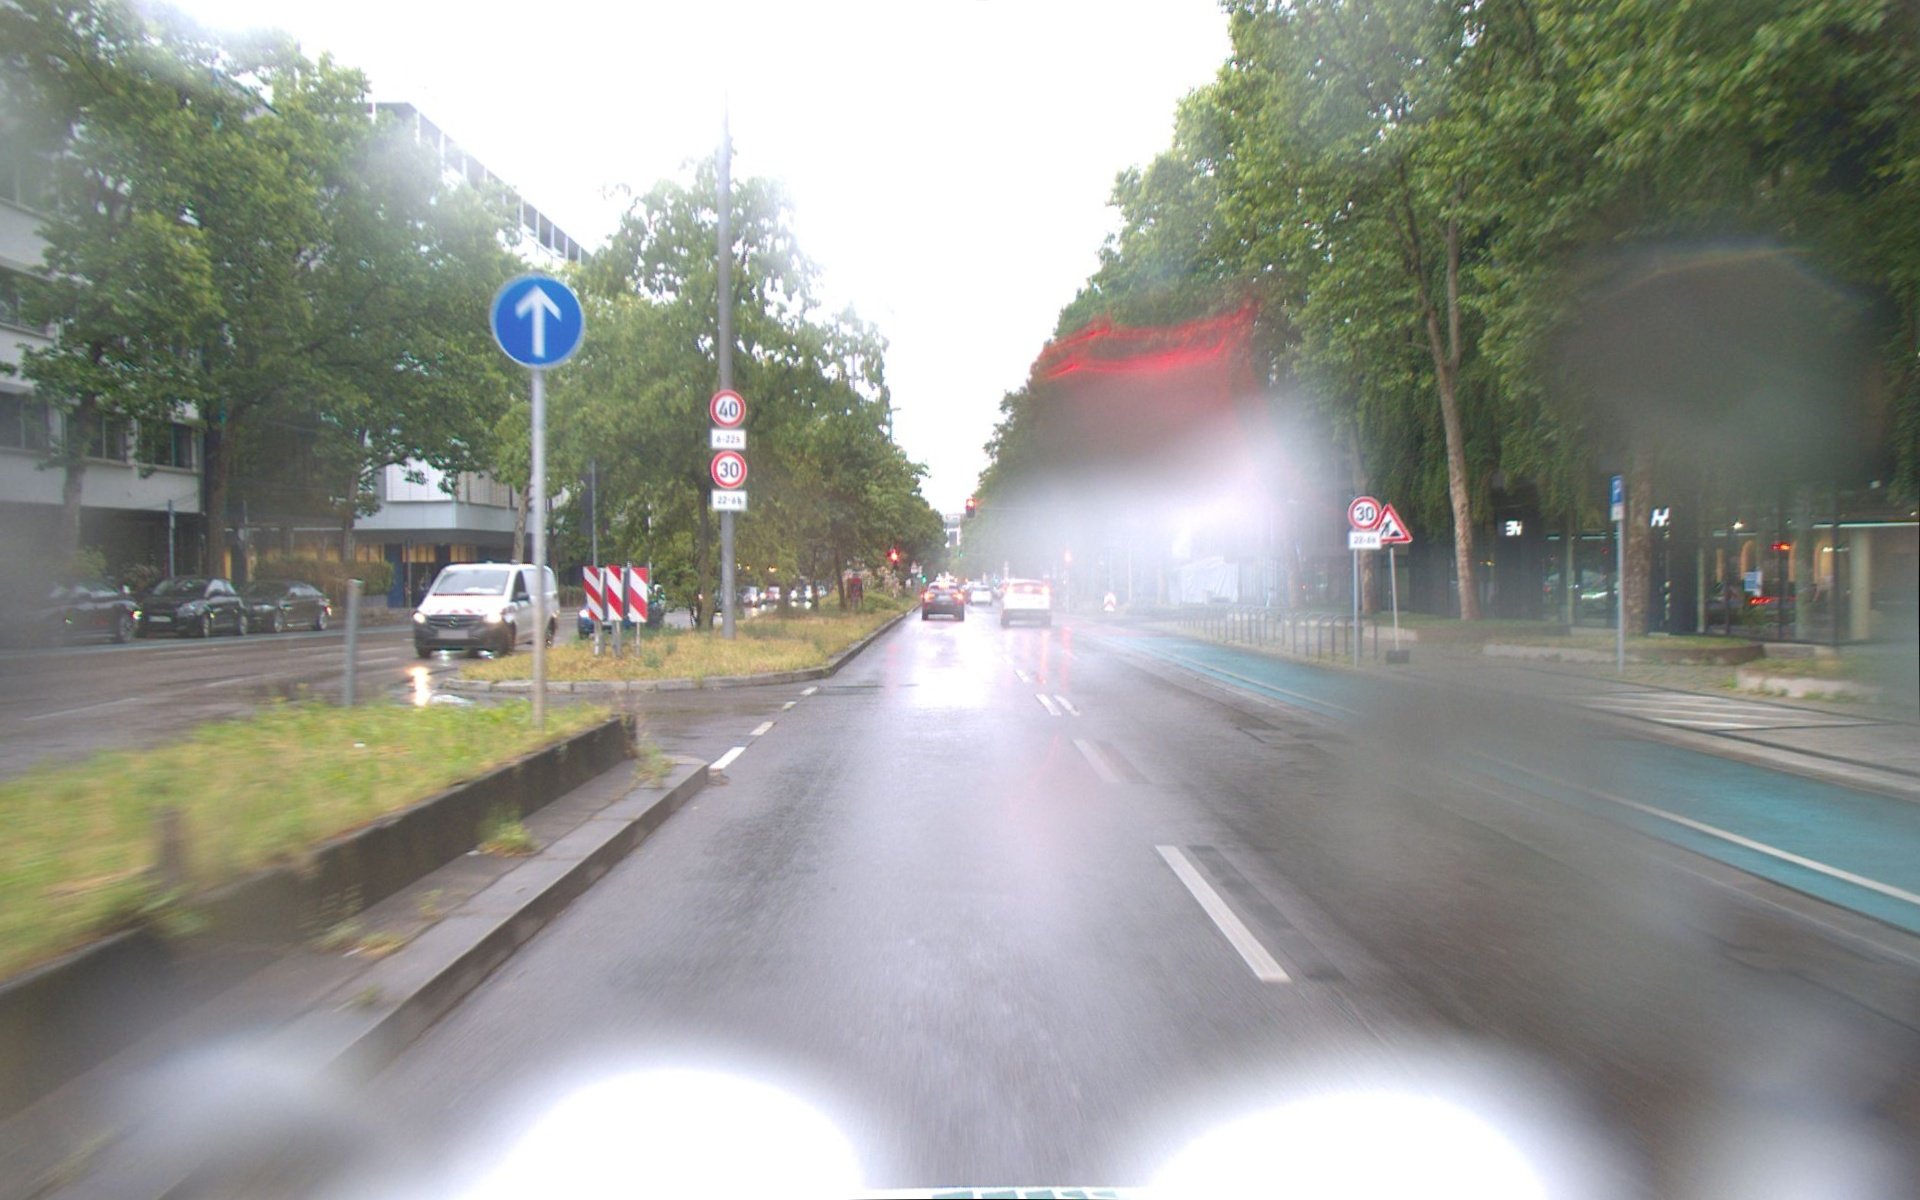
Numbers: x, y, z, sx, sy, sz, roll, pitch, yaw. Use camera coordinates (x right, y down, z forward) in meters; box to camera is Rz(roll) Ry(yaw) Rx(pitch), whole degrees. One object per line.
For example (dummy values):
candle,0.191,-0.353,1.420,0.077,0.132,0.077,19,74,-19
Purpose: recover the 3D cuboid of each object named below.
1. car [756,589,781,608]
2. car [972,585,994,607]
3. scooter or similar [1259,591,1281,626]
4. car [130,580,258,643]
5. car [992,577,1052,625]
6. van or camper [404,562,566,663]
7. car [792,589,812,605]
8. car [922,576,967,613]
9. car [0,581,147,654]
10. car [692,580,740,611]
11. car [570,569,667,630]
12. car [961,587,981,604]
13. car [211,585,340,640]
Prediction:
car,-15.170,-0.148,131.392,1.581,1.418,4.184,0,1,-1
car,1.827,-0.332,130.978,1.587,1.695,3.999,-1,1,-1
scooter or similar,11.252,0.304,59.985,0.374,1.249,1.075,0,0,35
car,-19.218,0.264,41.661,1.658,1.494,3.459,0,1,-1
car,2.259,0.010,61.090,1.953,1.684,4.888,0,1,-1
van or camper,-9.865,0.198,34.790,1.953,1.947,5.250,0,1,-1
car,-14.699,-0.254,154.106,1.581,1.418,3.597,0,1,-1
car,-0.675,-0.253,71.023,1.879,1.517,4.000,0,1,-1
car,-19.239,0.325,35.259,1.658,1.433,4.455,0,1,-1
car,-11.689,-0.221,79.403,1.806,1.454,3.642,0,1,-1
car,-9.332,-0.047,45.522,1.806,1.507,4.396,1,2,-1
car,0.949,-0.373,142.945,1.587,1.398,3.999,-1,1,-1
car,-19.217,0.319,46.682,1.658,1.433,4.904,0,1,-1
